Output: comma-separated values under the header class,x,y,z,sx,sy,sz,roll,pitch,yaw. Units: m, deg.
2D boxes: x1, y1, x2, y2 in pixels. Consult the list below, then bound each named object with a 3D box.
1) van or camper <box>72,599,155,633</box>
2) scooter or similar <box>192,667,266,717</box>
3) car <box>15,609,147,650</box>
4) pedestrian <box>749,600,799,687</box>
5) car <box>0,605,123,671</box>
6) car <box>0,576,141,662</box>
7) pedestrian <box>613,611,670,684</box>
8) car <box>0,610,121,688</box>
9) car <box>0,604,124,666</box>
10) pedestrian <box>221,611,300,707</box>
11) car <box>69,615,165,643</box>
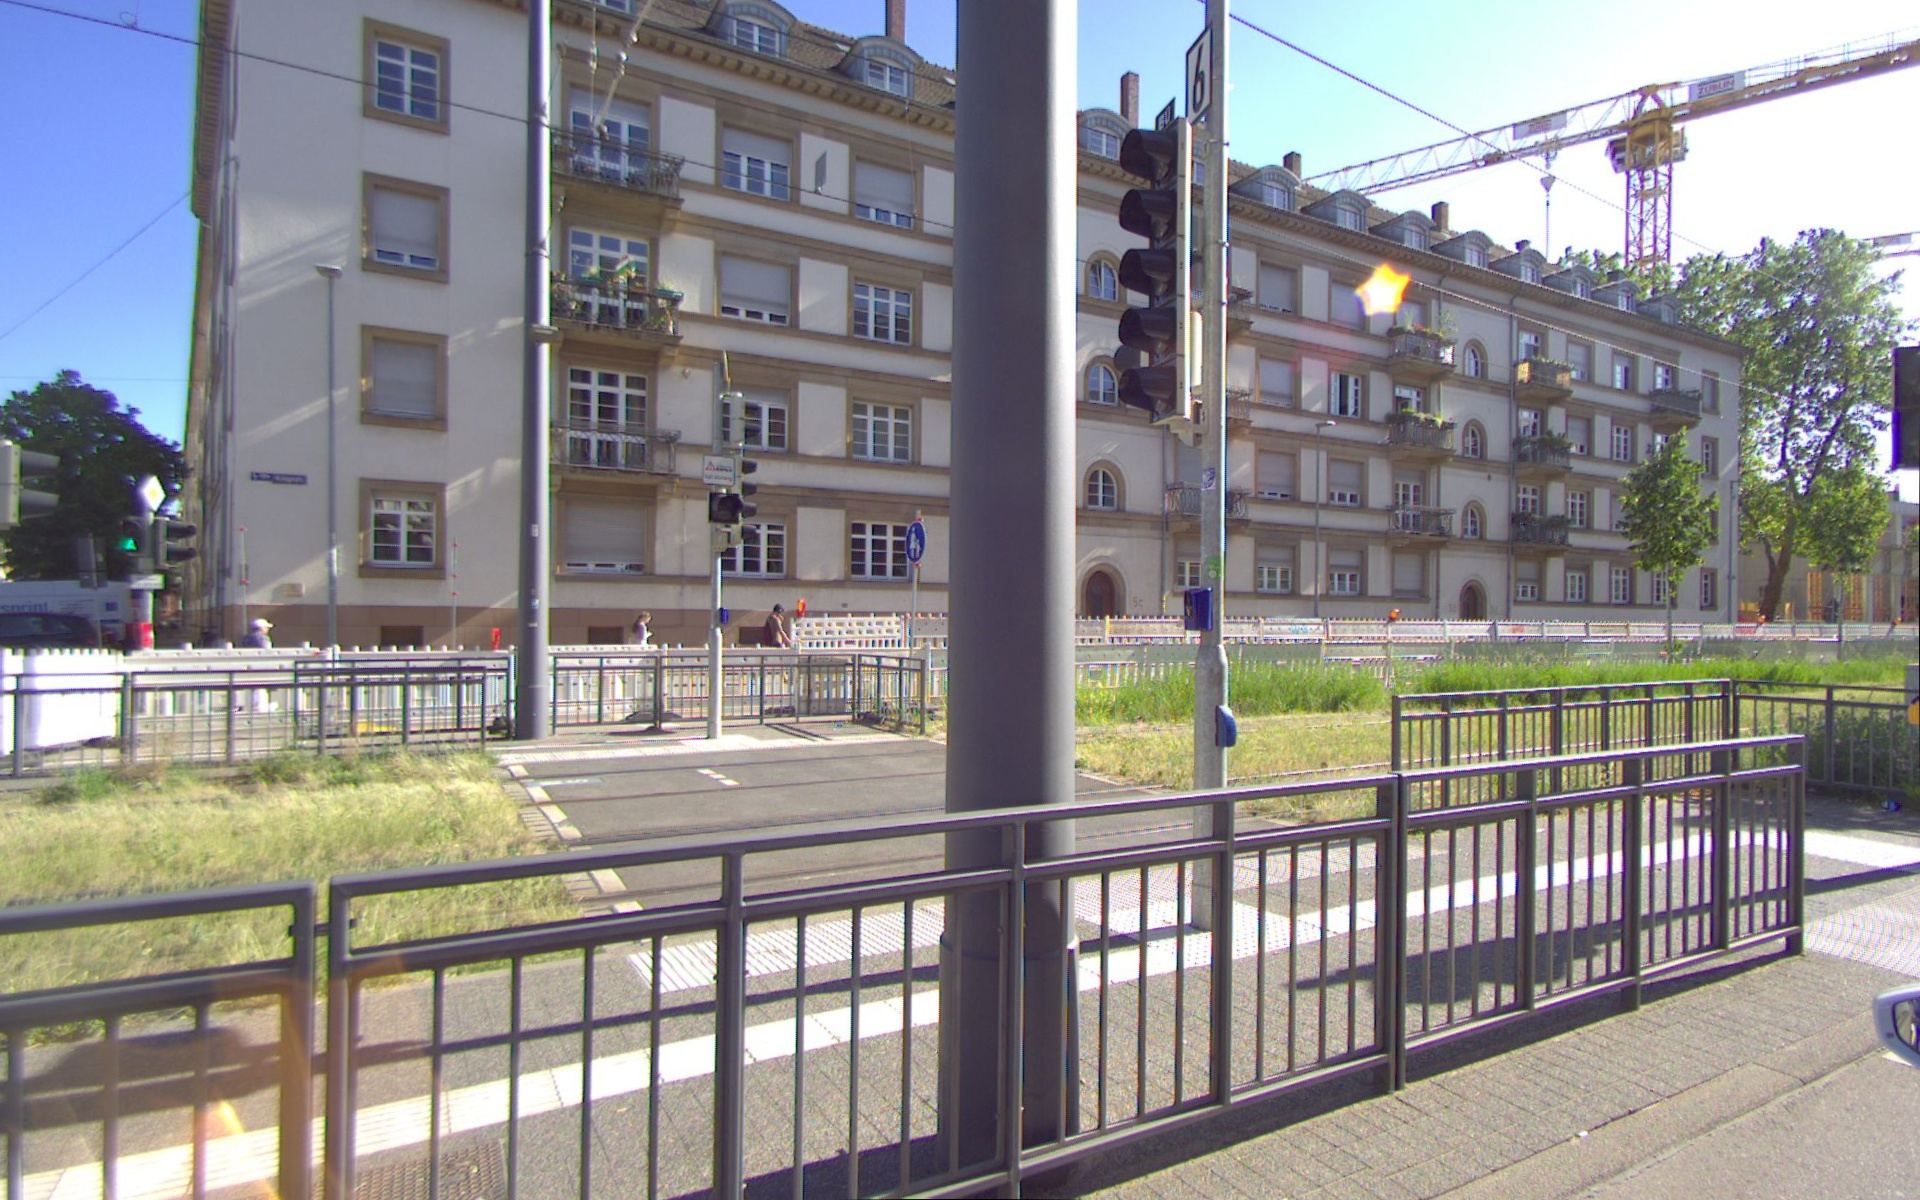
class,x,y,z,sx,sy,sz,roll,pitch,yaw
van or camper,-59.284,1.120,70.447,4.311,2.244,1.930,2,0,-40
scooter or similar,-11.413,1.434,15.705,0.697,0.729,0.607,0,-1,1
car,-36.286,1.232,41.603,3.965,1.576,1.848,2,0,-39
pedestrian,-4.157,0.959,22.461,0.861,1.888,0.763,2,0,-30
car,-24.918,0.998,26.701,3.965,1.662,1.849,2,0,-38
car,-28.152,0.555,29.968,5.710,2.487,1.977,2,0,-40
pedestrian,-7.021,1.034,22.131,1.009,1.538,0.783,2,0,-30
car,-21.584,1.078,22.564,3.959,1.662,1.851,2,0,-34
car,-26.297,0.964,28.409,3.965,1.662,1.849,2,0,-38
pedestrian,-11.399,0.948,16.402,0.697,1.524,0.806,0,-1,1
car,-46.139,1.585,55.080,3.967,1.449,1.758,2,0,-40
